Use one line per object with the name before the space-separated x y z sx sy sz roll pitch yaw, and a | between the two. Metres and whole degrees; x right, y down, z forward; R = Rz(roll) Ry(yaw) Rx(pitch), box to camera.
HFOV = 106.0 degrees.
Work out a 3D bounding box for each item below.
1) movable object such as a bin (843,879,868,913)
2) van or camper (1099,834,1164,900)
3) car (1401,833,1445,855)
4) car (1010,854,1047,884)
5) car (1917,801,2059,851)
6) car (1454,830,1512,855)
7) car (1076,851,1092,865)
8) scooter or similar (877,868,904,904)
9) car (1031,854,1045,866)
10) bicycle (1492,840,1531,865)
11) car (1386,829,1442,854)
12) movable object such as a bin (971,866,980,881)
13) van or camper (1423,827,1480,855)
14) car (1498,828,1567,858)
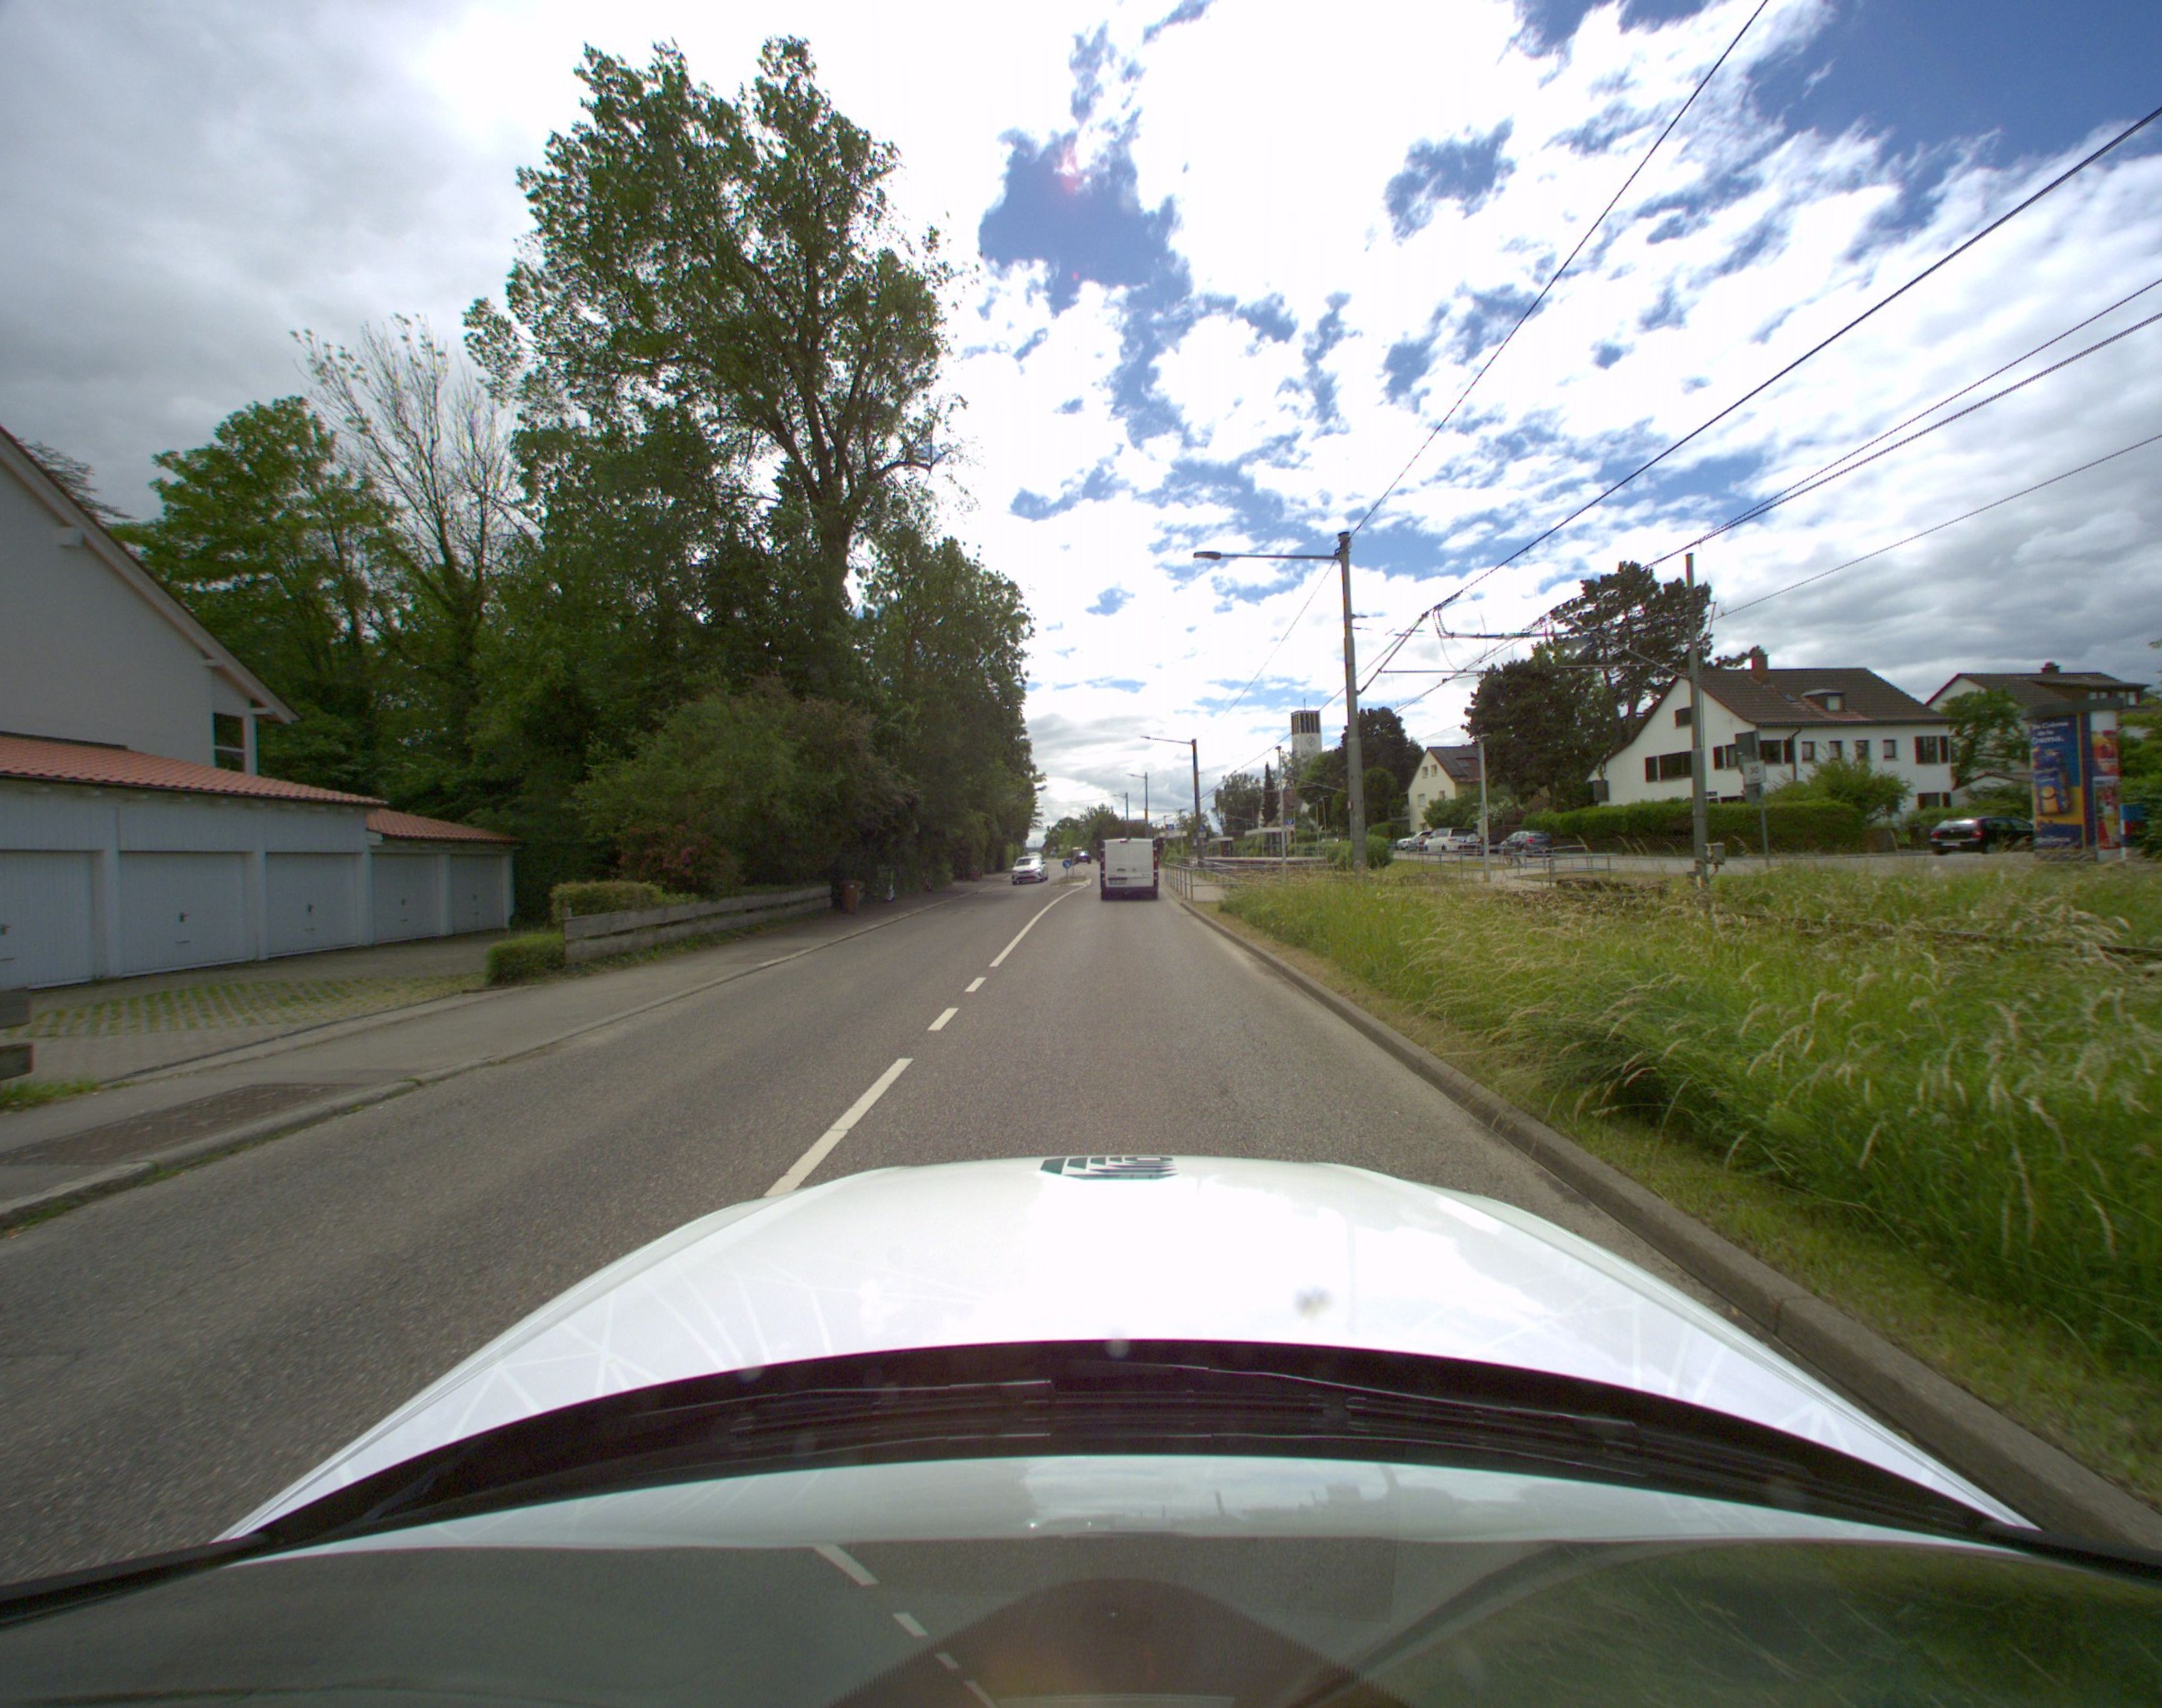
movable object such as a bin | -6.423 1.193 23.182 0.511 0.945 0.569 -1 0 2
van or camper | 1.687 0.421 27.471 1.985 2.014 4.449 -1 -1 3
car | 26.426 -0.742 63.074 1.875 1.522 4.004 -2 0 4
car | -2.853 0.799 44.704 1.689 1.430 3.785 -7 0 -1
car | 32.857 -0.995 29.536 3.722 1.623 1.818 -2 0 -12
car | 25.801 -0.717 52.422 1.875 1.522 4.004 -2 0 4
car | 0.368 0.482 104.759 1.847 1.648 3.732 -2 0 -2
scooter or similar | -6.701 1.105 28.683 0.406 1.199 1.641 -2 0 4
car | -6.148 0.861 116.317 1.758 1.625 4.180 -3 0 -4
bicycle | 19.493 -0.071 36.959 0.535 1.045 2.542 -2 0 4
car | 30.810 -1.131 75.421 4.318 1.943 1.744 -5 0 -4
movable object such as a bin | -6.570 1.187 50.624 0.463 0.930 0.428 2 -1 -15
van or camper | 25.961 -0.870 57.244 1.897 1.826 5.052 -2 0 4
car | 25.518 -0.606 46.189 1.875 1.522 4.004 -2 0 4
